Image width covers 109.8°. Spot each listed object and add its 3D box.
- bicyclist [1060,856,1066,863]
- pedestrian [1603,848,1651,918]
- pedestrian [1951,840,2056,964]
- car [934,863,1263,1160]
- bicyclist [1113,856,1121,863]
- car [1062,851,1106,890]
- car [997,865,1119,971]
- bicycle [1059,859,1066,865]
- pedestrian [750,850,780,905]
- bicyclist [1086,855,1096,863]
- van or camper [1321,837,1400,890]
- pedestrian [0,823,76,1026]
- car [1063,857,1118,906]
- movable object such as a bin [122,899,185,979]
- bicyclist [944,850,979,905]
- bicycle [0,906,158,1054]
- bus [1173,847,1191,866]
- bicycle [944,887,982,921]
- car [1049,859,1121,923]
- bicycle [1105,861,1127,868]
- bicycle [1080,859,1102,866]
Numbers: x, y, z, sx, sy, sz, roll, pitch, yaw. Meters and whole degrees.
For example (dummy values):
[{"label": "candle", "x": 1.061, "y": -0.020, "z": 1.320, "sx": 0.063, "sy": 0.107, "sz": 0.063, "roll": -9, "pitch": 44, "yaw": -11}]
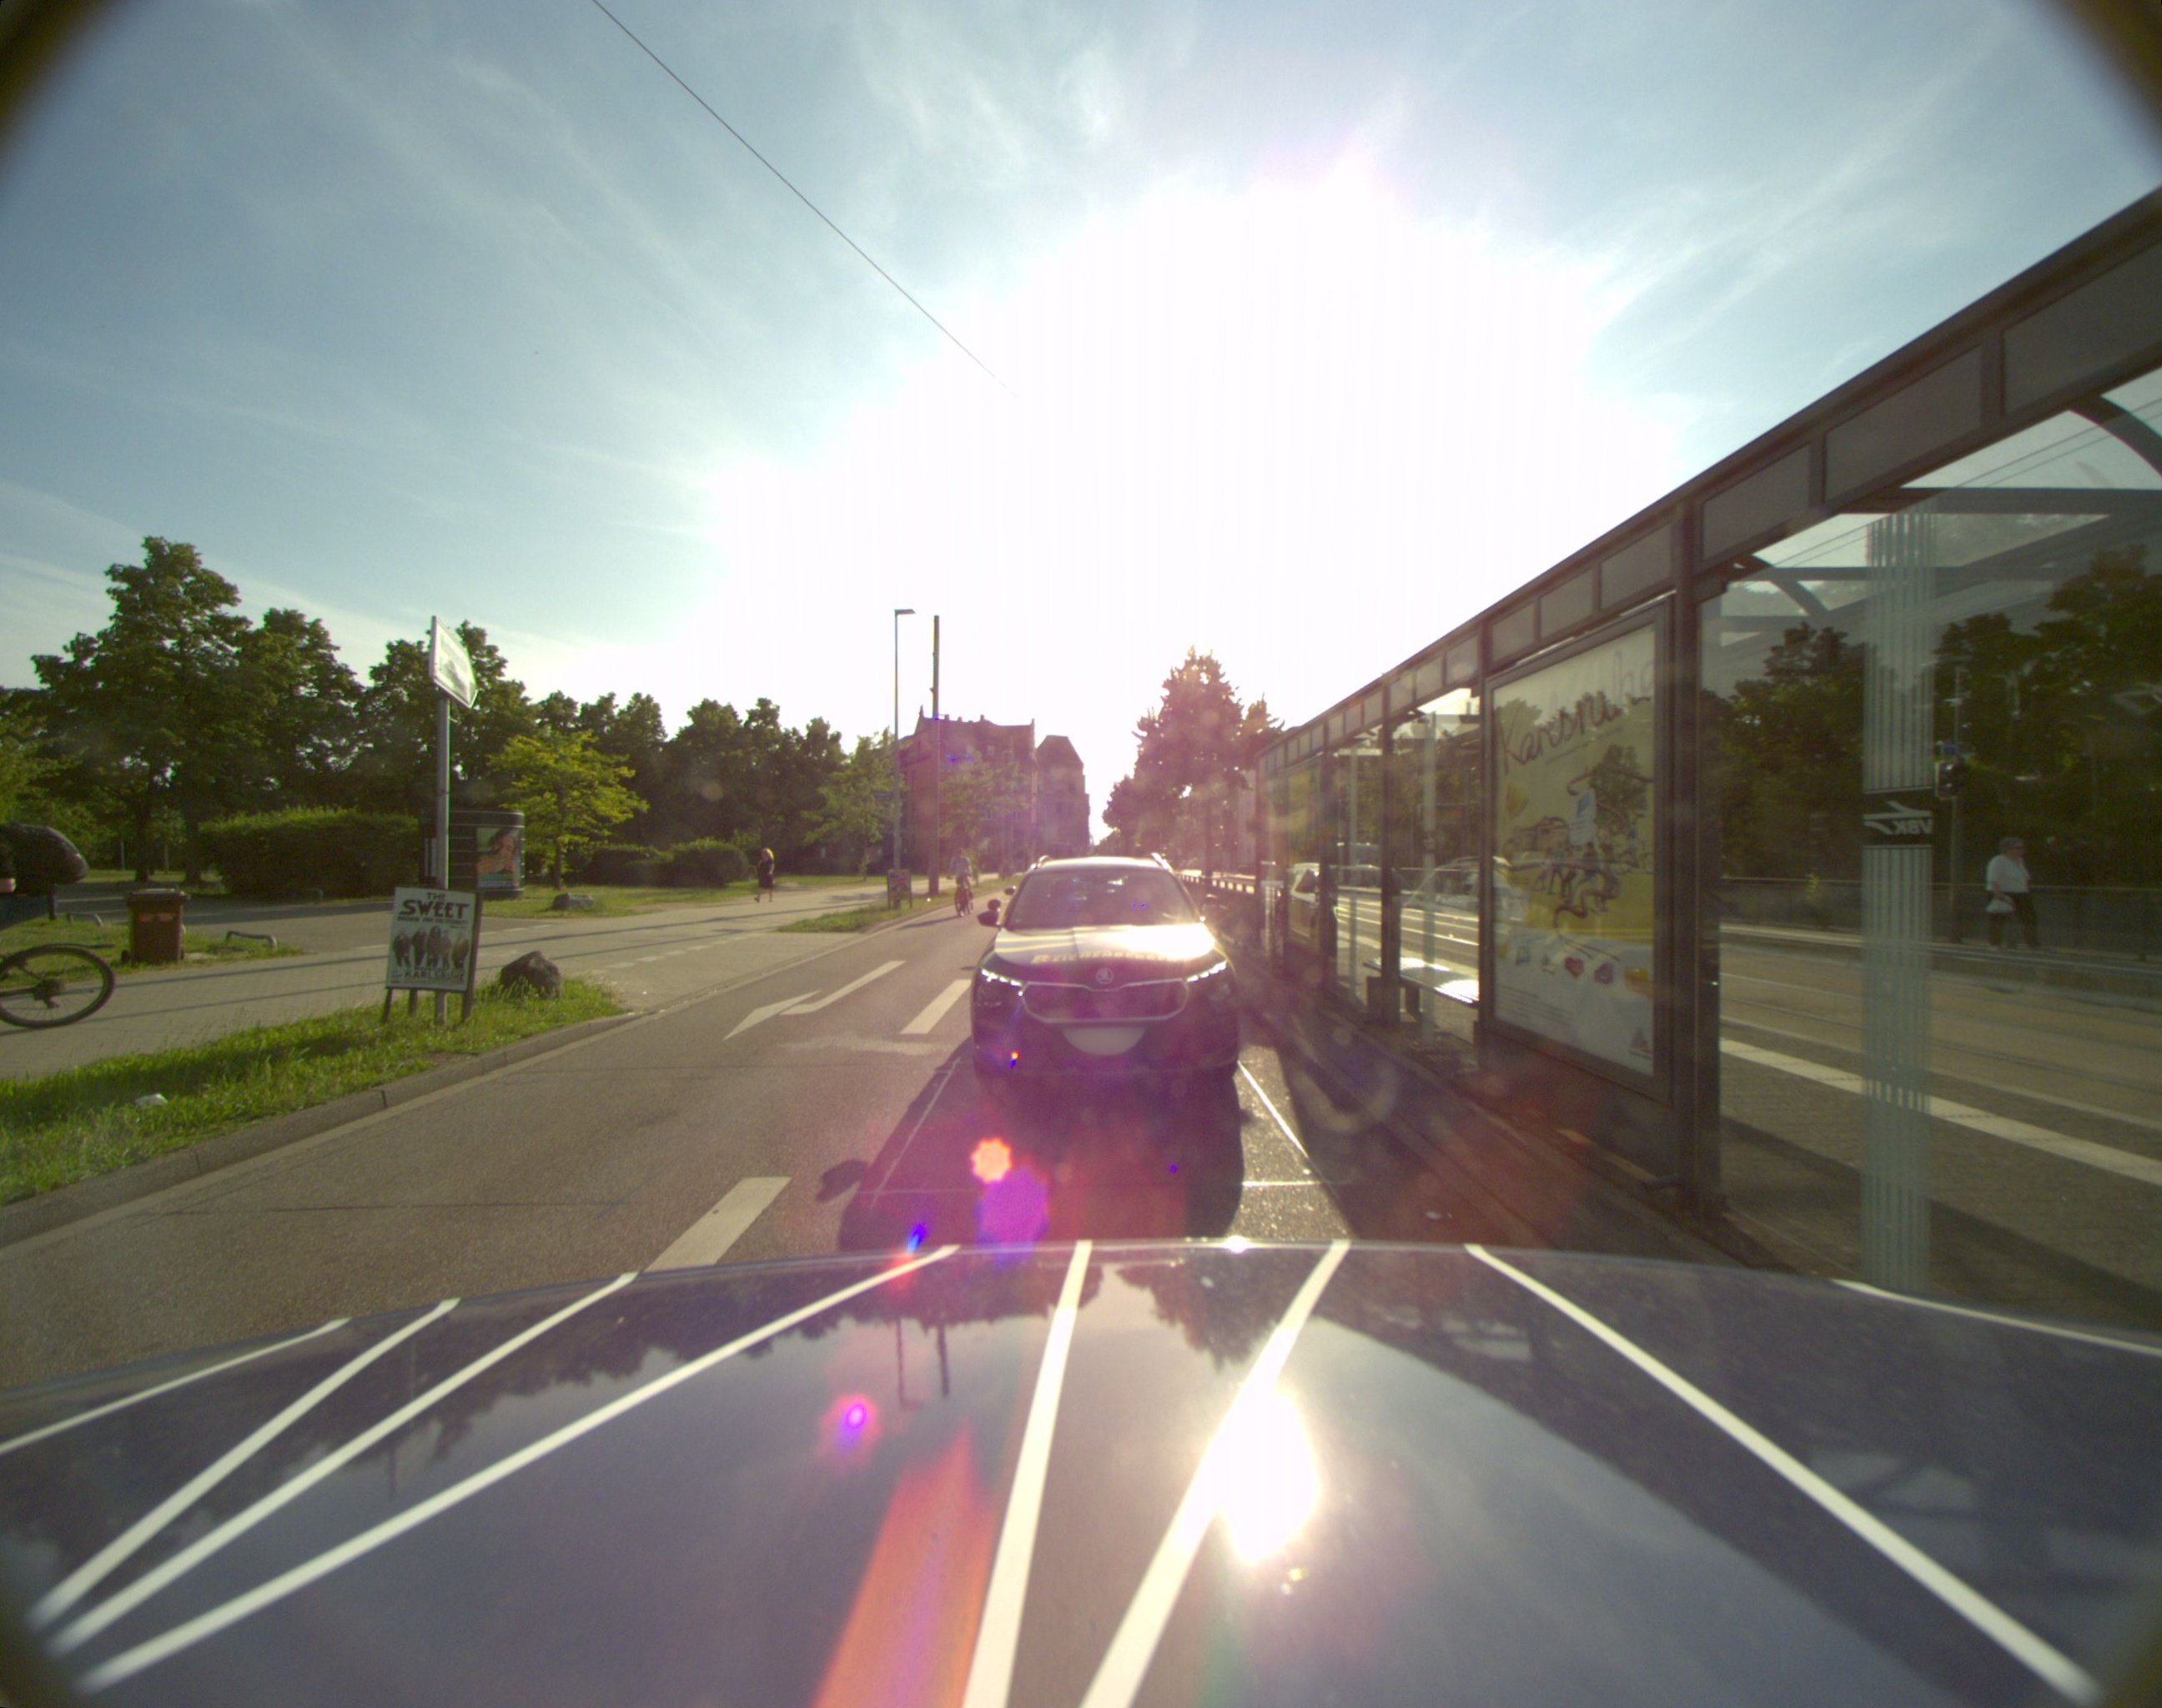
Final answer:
[{"label": "bicyclist", "x": -2.399, "y": 0.762, "z": 100.462, "sx": 0.616, "sy": 0.908, "sz": 0.897, "roll": 0, "pitch": 0, "yaw": -8}, {"label": "pedestrian", "x": 13.411, "y": 0.701, "z": 18.674, "sx": 0.621, "sy": 1.675, "sz": 0.618, "roll": 3, "pitch": 1, "yaw": 1}, {"label": "pedestrian", "x": 13.038, "y": 0.656, "z": 10.757, "sx": 0.621, "sy": 1.675, "sz": 0.618, "roll": 3, "pitch": 1, "yaw": 1}, {"label": "car", "x": 0.132, "y": 0.888, "z": 6.256, "sx": 1.756, "sy": 1.534, "sz": 4.235, "roll": -1, "pitch": 0, "yaw": 1}, {"label": "bicyclist", "x": 4.373, "y": 0.691, "z": 92.758, "sx": 0.898, "sy": 0.908, "sz": 0.615, "roll": 0, "pitch": 0, "yaw": -15}, {"label": "car", "x": 0.163, "y": 0.682, "z": 32.962, "sx": 1.756, "sy": 1.534, "sz": 4.235, "roll": -1, "pitch": 0, "yaw": 1}, {"label": "car", "x": -0.307, "y": 0.968, "z": 13.278, "sx": 1.756, "sy": 1.451, "sz": 4.235, "roll": -1, "pitch": 0, "yaw": 1}, {"label": "bicycle", "x": -2.400, "y": 1.055, "z": 100.516, "sx": 0.630, "sy": 0.876, "sz": 2.538, "roll": 0, "pitch": 0, "yaw": -8}, {"label": "pedestrian", "x": -9.811, "y": 0.719, "z": 23.598, "sx": 0.621, "sy": 1.675, "sz": 0.618, "roll": -2, "pitch": 1, "yaw": 1}, {"label": "bicyclist", "x": 1.229, "y": 0.602, "z": 91.483, "sx": 1.217, "sy": 1.018, "sz": 0.671, "roll": 0, "pitch": 0, "yaw": 4}, {"label": "van or camper", "x": 17.027, "y": 0.502, "z": 46.747, "sx": 2.527, "sy": 2.951, "sz": 6.411, "roll": -2, "pitch": 1, "yaw": 1}, {"label": "pedestrian", "x": -8.403, "y": 0.537, "z": 5.705, "sx": 0.636, "sy": 1.512, "sz": 0.846, "roll": -2, "pitch": 1, "yaw": 23}, {"label": "car", "x": 0.348, "y": 0.905, "z": 26.936, "sx": 1.756, "sy": 1.534, "sz": 4.235, "roll": -1, "pitch": 0, "yaw": 1}, {"label": "movable object such as a bin", "x": -11.401, "y": 1.027, "z": 9.350, "sx": 0.603, "sy": 0.912, "sz": 0.457, "roll": 1, "pitch": 1, "yaw": 42}, {"label": "bicyclist", "x": -3.212, "y": 0.623, "z": 20.521, "sx": 0.689, "sy": 1.445, "sz": 1.111, "roll": 0, "pitch": 0, "yaw": 4}, {"label": "bicycle", "x": -8.500, "y": 0.991, "z": 5.618, "sx": 0.650, "sy": 1.040, "sz": 1.983, "roll": -2, "pitch": 1, "yaw": 23}, {"label": "bus", "x": 19.931, "y": 0.426, "z": 149.978, "sx": 2.437, "sy": 3.415, "sz": 9.261, "roll": -2, "pitch": 1, "yaw": 1}, {"label": "bicycle", "x": -3.168, "y": 1.318, "z": 20.509, "sx": 0.567, "sy": 0.789, "sz": 2.042, "roll": 0, "pitch": 0, "yaw": 4}, {"label": "car", "x": 0.129, "y": 0.932, "z": 20.985, "sx": 1.756, "sy": 1.534, "sz": 4.235, "roll": -1, "pitch": 0, "yaw": 1}, {"label": "bicycle", "x": 4.282, "y": 1.265, "z": 92.889, "sx": 2.541, "sy": 0.876, "sz": 0.630, "roll": 0, "pitch": 0, "yaw": -15}, {"label": "bicycle", "x": 1.196, "y": 1.039, "z": 91.560, "sx": 2.536, "sy": 0.876, "sz": 0.631, "roll": 0, "pitch": 0, "yaw": 5}]
